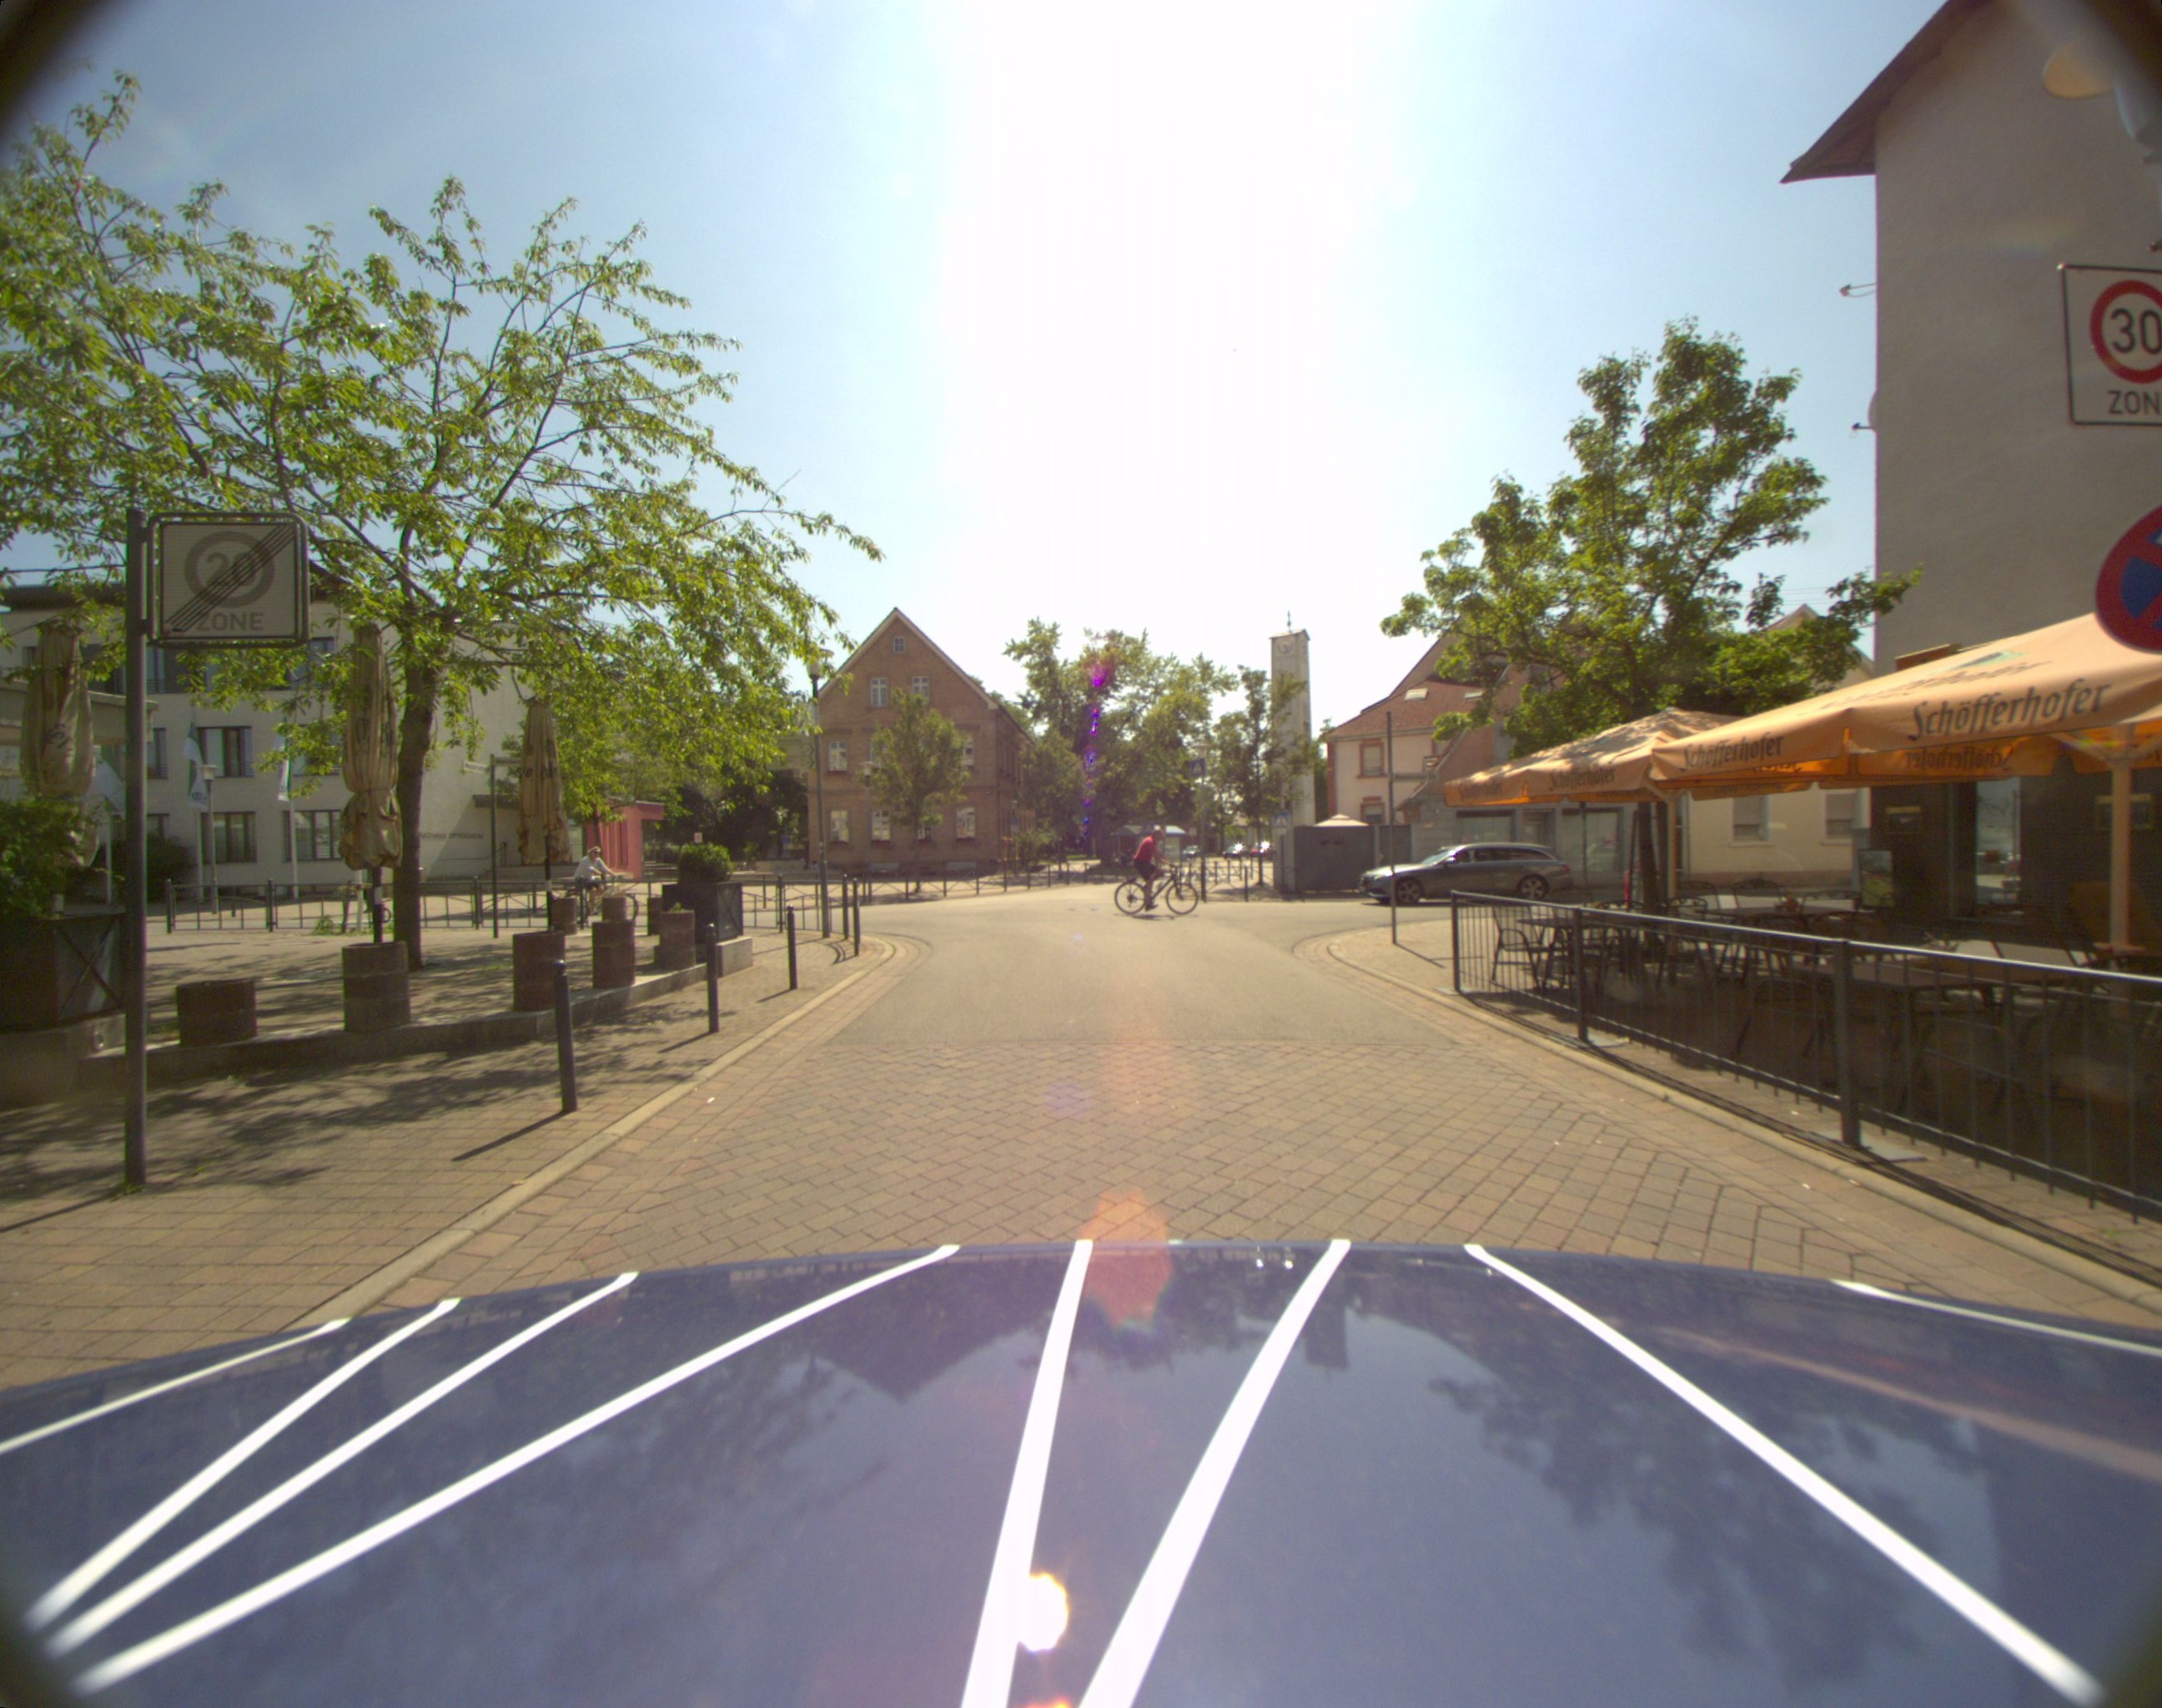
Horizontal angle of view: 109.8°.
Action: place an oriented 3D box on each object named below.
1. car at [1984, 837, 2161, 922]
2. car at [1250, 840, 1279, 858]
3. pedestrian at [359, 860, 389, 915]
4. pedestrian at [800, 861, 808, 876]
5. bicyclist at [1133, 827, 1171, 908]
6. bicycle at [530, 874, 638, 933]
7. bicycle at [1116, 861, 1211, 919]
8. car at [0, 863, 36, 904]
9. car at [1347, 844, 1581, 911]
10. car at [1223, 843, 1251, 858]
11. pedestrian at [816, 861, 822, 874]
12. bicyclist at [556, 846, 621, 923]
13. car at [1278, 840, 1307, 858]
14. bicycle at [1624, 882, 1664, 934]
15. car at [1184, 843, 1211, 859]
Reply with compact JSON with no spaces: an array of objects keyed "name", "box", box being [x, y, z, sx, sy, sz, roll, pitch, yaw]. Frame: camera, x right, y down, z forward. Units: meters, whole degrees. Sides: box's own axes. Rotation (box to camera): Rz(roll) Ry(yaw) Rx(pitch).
[{"name":"car","box":[19.149,0.433,13.748,3.481,1.445,1.582,-1,0,6]},{"name":"car","box":[18.640,-0.507,77.162,1.777,1.783,4.008,-1,0,30]},{"name":"pedestrian","box":[-21.104,0.978,22.671,0.555,1.609,0.551,1,1,38]},{"name":"pedestrian","box":[-15.652,0.831,42.934,0.367,0.813,0.361,-1,0,-13]},{"name":"bicyclist","box":[1.523,0.289,16.361,0.759,1.707,0.703,0,2,1]},{"name":"bicycle","box":[-10.466,1.027,16.031,1.798,1.183,0.690,0,2,0]},{"name":"bicycle","box":[1.746,0.758,16.346,1.969,1.183,0.738,0,2,0]},{"name":"car","box":[-42.850,1.197,28.470,1.747,1.539,3.999,-1,2,2]},{"name":"car","box":[9.418,0.554,19.010,4.839,1.473,1.916,-2,0,4]},{"name":"car","box":[16.034,-0.340,77.969,1.646,1.459,3.786,-1,0,30]},{"name":"pedestrian","box":[-14.823,0.786,42.961,0.289,0.728,0.357,-1,0,-13]},{"name":"bicyclist","box":[-10.376,0.623,16.033,0.877,1.572,0.703,0,2,1]},{"name":"car","box":[21.044,-0.538,75.578,1.777,1.783,4.007,0,1,31]},{"name":"bicycle","box":[10.557,0.985,14.231,0.463,0.891,1.417,-2,-1,41]},{"name":"car","box":[12.257,-0.287,79.940,1.995,1.607,4.005,0,1,21]}]
